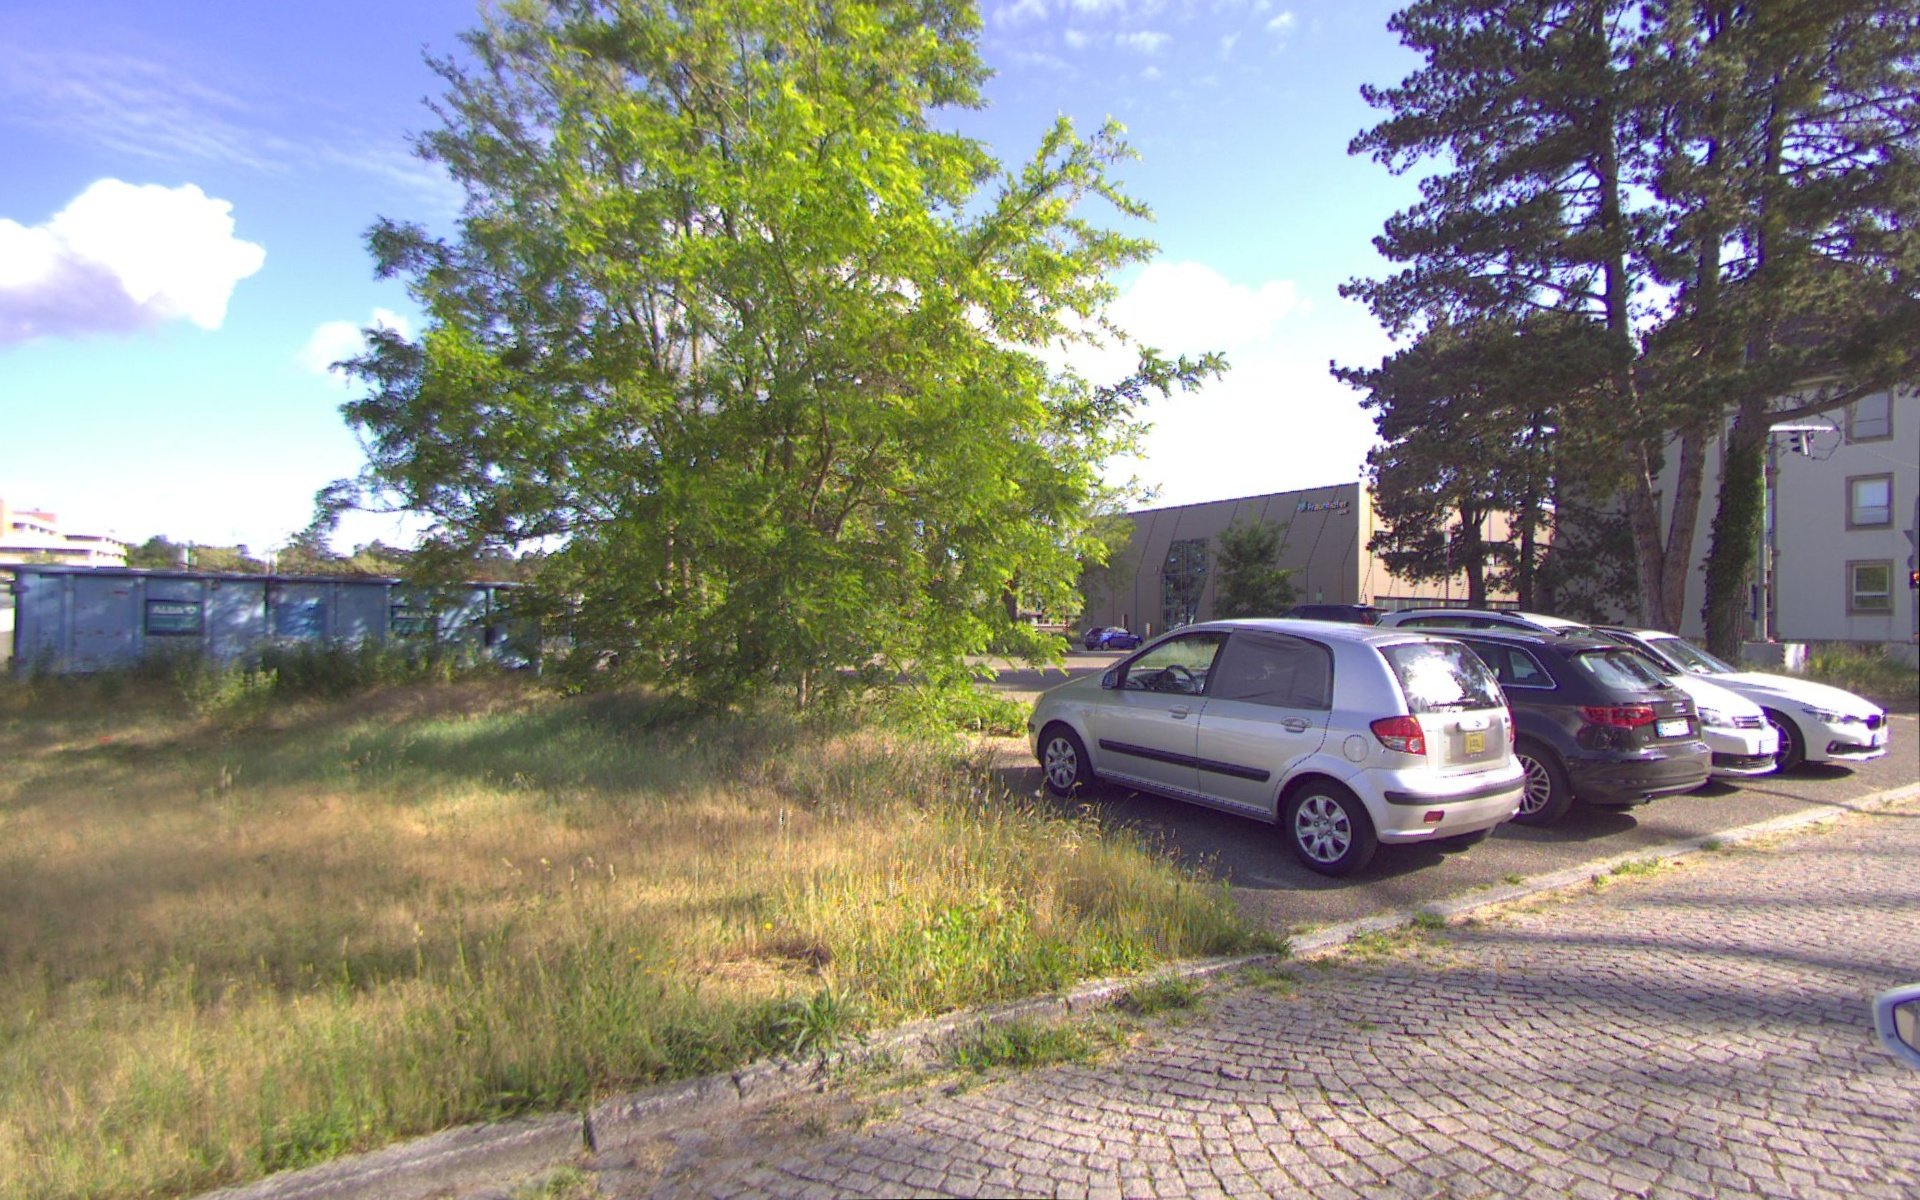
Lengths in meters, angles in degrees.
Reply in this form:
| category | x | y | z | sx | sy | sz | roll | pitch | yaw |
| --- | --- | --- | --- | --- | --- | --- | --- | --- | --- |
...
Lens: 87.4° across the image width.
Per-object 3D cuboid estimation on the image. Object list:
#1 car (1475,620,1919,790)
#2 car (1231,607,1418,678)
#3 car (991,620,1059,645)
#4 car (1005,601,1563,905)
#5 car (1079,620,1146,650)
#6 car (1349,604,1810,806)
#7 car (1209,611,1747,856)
| category | x | y | z | sx | sy | sz | roll | pitch | yaw |
| --- | --- | --- | --- | --- | --- | --- | --- | --- | --- |
| car | 8.595 | 1.083 | 12.099 | 1.750 | 1.516 | 3.971 | 1 | 1 | -27 |
| car | 9.047 | 1.023 | 25.241 | 1.987 | 1.630 | 4.123 | 1 | -1 | -31 |
| car | 4.639 | 2.328 | 71.620 | 4.505 | 1.725 | 1.984 | 1 | -1 | -30 |
| car | 2.115 | 0.846 | 7.452 | 1.682 | 1.548 | 3.661 | 1 | 1 | -34 |
| car | 9.640 | 2.197 | 63.506 | 3.955 | 1.802 | 1.856 | 1 | -1 | -30 |
| car | 6.376 | 0.931 | 10.775 | 1.643 | 1.637 | 3.856 | 1 | 1 | -33 |
| car | 4.287 | 0.943 | 8.941 | 1.673 | 1.464 | 3.913 | 1 | 2 | -33 |
